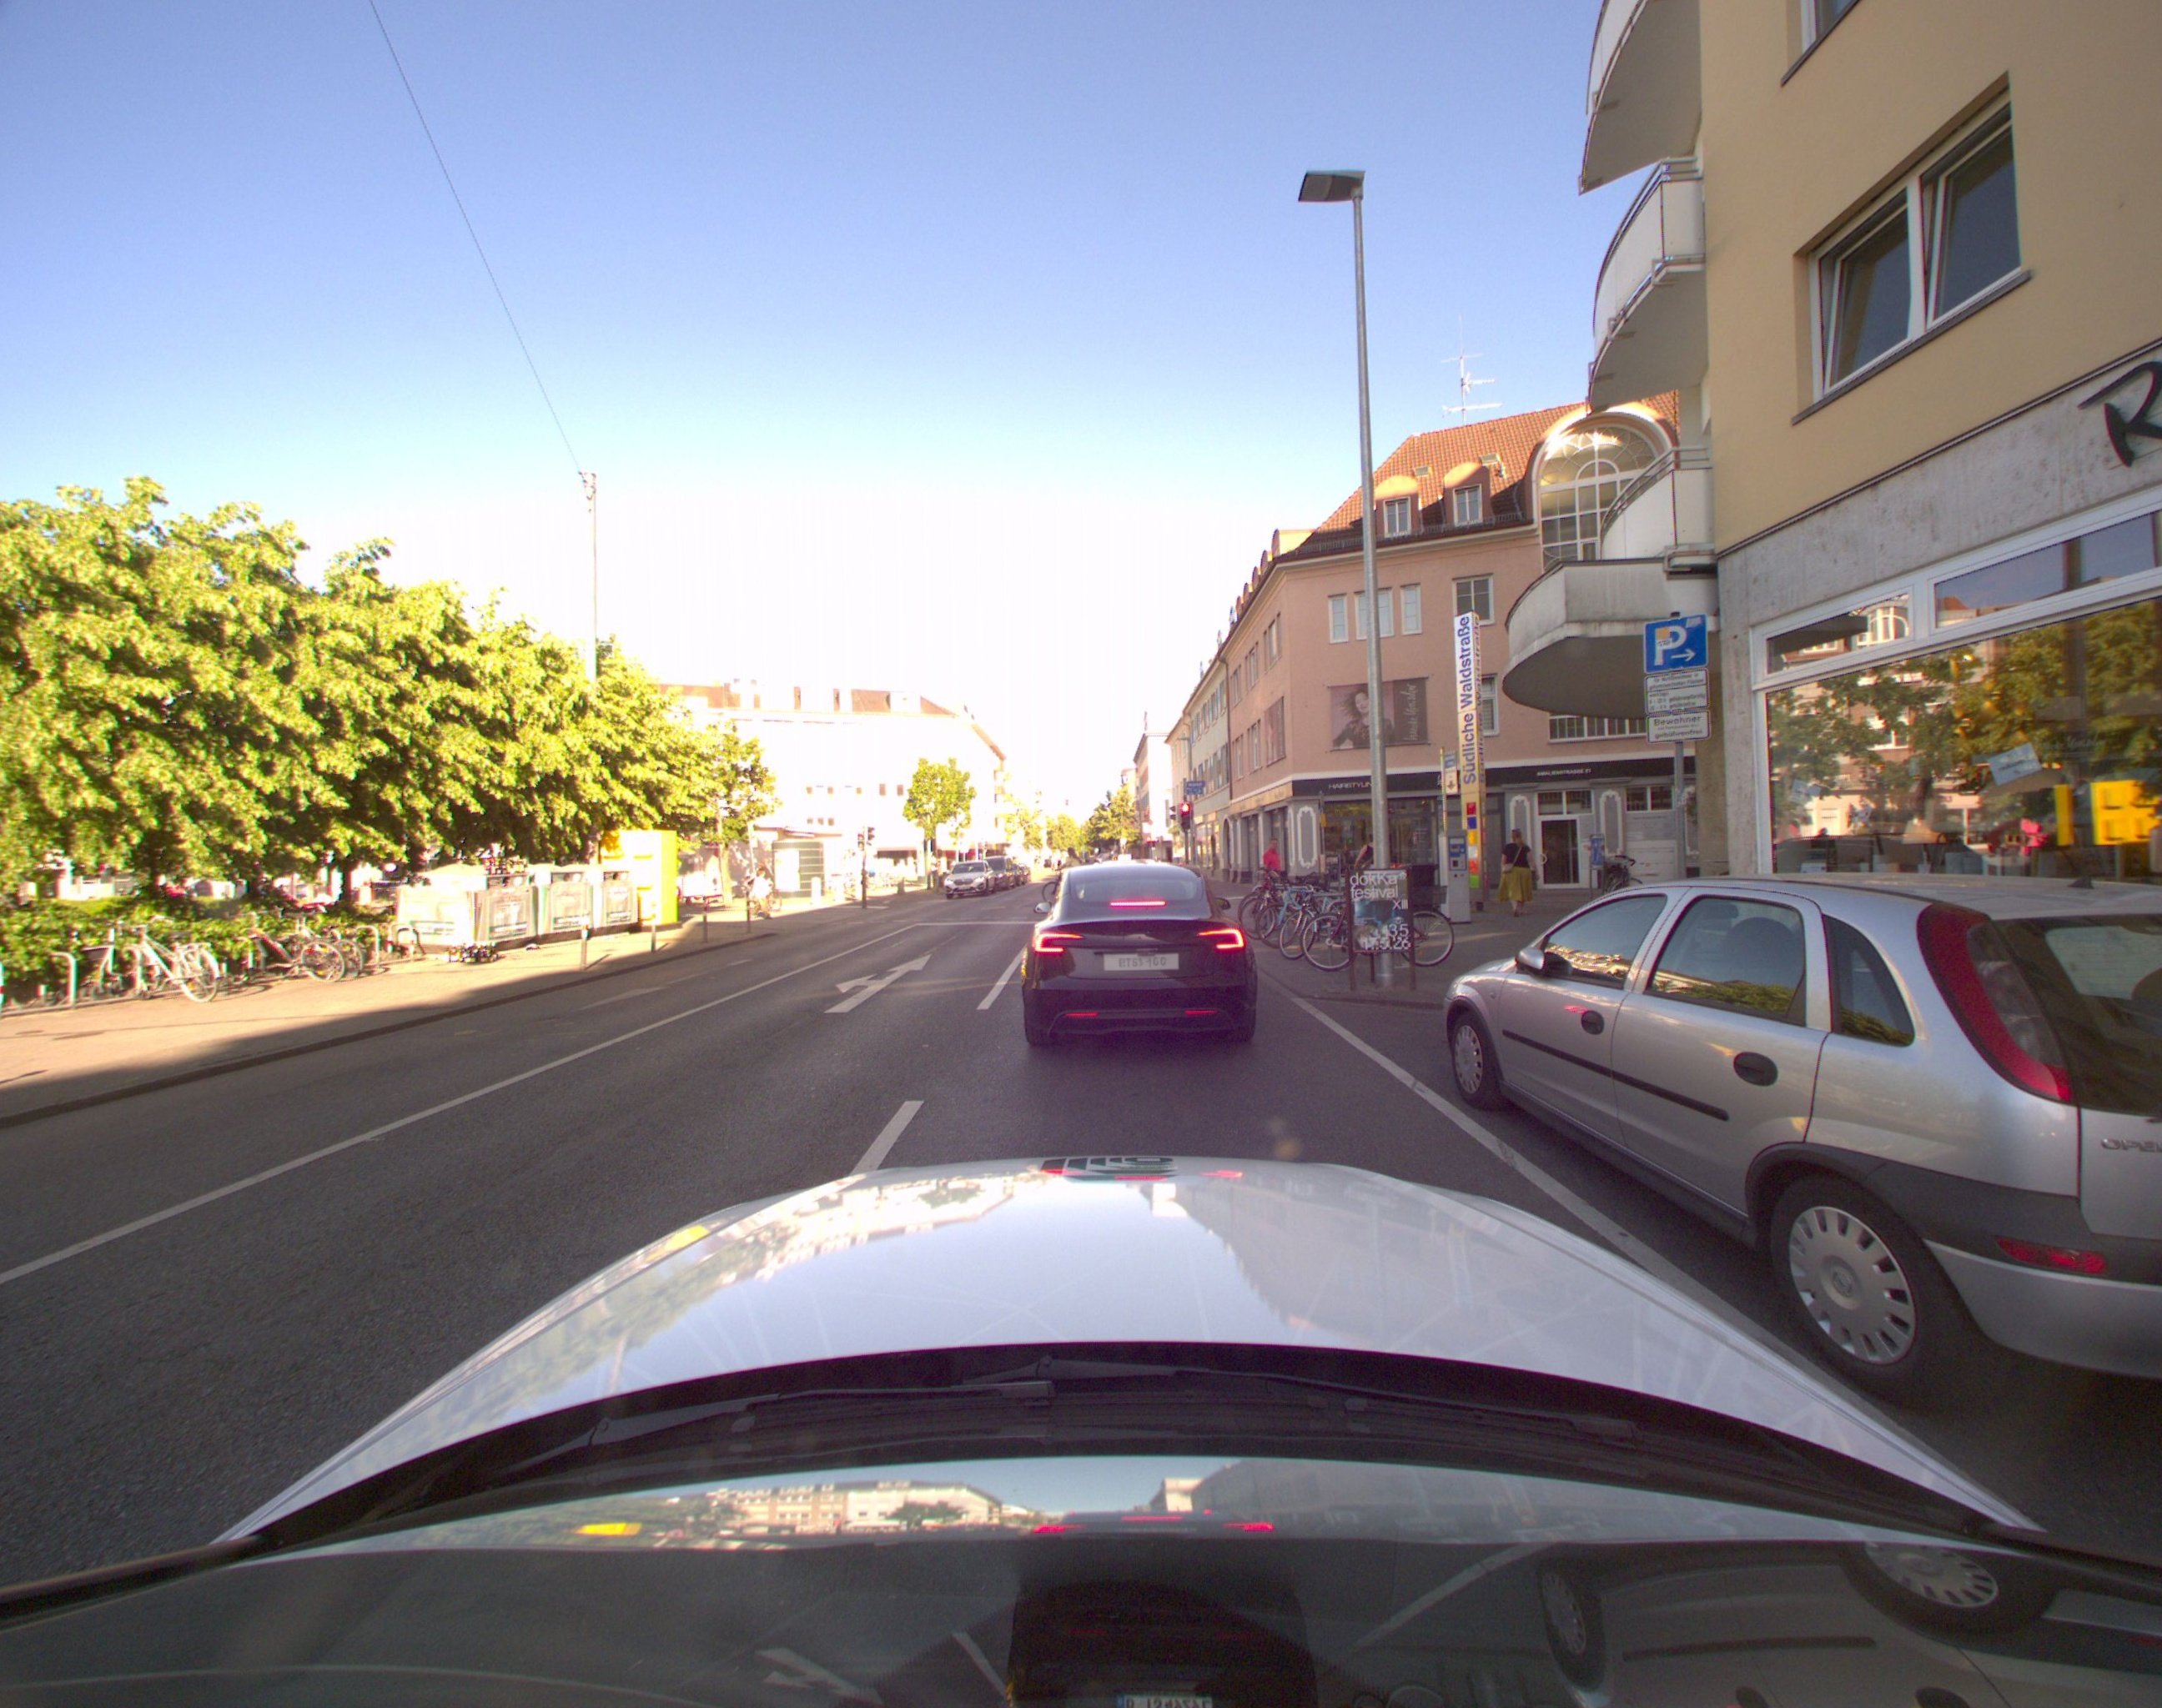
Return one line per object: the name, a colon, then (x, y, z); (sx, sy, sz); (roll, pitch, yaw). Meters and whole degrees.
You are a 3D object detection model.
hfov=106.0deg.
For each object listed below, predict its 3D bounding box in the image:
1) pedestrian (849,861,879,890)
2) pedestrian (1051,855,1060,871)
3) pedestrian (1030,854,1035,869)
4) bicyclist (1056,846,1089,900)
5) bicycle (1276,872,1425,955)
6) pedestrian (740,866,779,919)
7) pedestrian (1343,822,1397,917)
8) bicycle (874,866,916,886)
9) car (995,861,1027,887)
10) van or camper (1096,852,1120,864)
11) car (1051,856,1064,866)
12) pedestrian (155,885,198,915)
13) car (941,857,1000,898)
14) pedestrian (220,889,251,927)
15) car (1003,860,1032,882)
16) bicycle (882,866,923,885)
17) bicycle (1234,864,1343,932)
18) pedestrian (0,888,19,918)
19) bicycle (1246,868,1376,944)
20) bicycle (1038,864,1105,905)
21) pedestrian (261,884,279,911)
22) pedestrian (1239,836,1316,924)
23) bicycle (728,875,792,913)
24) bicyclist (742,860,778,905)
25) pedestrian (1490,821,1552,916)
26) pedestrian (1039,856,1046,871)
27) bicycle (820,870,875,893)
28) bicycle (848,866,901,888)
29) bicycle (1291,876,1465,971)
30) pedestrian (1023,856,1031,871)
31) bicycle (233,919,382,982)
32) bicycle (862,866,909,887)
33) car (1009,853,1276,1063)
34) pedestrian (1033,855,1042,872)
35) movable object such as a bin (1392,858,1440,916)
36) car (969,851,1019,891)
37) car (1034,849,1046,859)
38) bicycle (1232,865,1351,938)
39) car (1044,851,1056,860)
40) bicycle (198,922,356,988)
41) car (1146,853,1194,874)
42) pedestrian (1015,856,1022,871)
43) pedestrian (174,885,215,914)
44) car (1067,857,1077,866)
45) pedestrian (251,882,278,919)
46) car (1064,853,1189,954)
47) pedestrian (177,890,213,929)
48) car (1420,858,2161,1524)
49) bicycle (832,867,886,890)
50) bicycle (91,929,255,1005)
pedestrian: (-12.536, 1.232, 47.099); (1.083, 1.611, 1.273); (-1, -1, 24)
pedestrian: (-3.027, 1.094, 95.836); (0.776, 1.868, 1.003); (0, -1, -15)
pedestrian: (-6.209, 0.979, 104.222); (0.693, 1.868, 0.658); (0, -1, -3)
bicyclist: (-0.264, 0.586, 25.277); (0.821, 1.614, 0.581); (-3, 0, 11)
bicycle: (3.658, 0.798, 11.152); (1.806, 1.060, 0.653); (-1, 0, 3)
pedestrian: (-9.650, 1.143, 24.449); (0.919, 1.543, 0.694); (0, -1, -4)
pedestrian: (5.929, 0.324, 16.740); (0.678, 1.849, 0.894); (-5, -1, 3)
bicycle: (-11.996, 1.401, 52.574); (2.535, 1.251, 0.942); (0, -1, -1)
car: (-4.253, 1.206, 50.044); (1.455, 1.430, 3.607); (-5, -1, 2)
van or camper: (5.643, 0.854, 167.657); (4.832, 2.438, 1.851); (-1, 0, 1)
car: (-4.849, 1.324, 166.806); (2.405, 1.970, 4.679); (-1, 0, 2)
pedestrian: (-38.332, 1.951, 34.515); (0.926, 1.214, 0.873); (-1, -1, 17)
car: (-4.881, 1.016, 36.595); (1.818, 1.565, 4.302); (-5, -1, 2)
pedestrian: (-34.705, 2.198, 33.439); (0.827, 1.520, 0.782); (-1, -1, 38)
car: (-4.423, 1.155, 57.004); (1.688, 1.390, 3.915); (-3, -1, 0)
bicycle: (-12.049, 1.421, 55.002); (2.535, 1.251, 0.942); (0, -1, -1)
bicycle: (3.739, 0.784, 14.768); (1.806, 1.152, 0.653); (-1, 0, 3)
pedestrian: (-66.777, 3.036, 50.185); (1.305, 1.842, 1.091); (0, -1, -31)
bicycle: (3.520, 0.792, 12.564); (1.806, 1.102, 0.653); (-1, 0, 3)
bicycle: (-0.289, 0.945, 25.290); (1.941, 1.158, 0.577); (-3, -1, 10)
pedestrian: (-47.830, 2.549, 48.022); (0.629, 1.524, 0.573); (0, -1, -34)
pedestrian: (3.990, 0.507, 16.555); (1.067, 1.719, 1.100); (0, -1, -41)
bicycle: (-10.841, 1.328, 27.513); (1.980, 1.223, 0.632); (1, -2, 13)
bicyclist: (-10.848, 0.948, 27.537); (0.948, 1.484, 0.610); (-1, -1, 13)
pedestrian: (8.534, 0.282, 15.825); (0.717, 1.754, 0.789); (-4, -1, 8)
pedestrian: (-4.618, 1.121, 97.791); (0.696, 1.868, 0.905); (0, -1, -16)
bicycle: (-12.366, 1.439, 43.241); (2.652, 1.195, 0.942); (0, -1, -1)
bicycle: (-12.152, 1.364, 47.981); (2.867, 1.270, 0.942); (0, -1, -1)
bicycle: (3.638, 0.846, 10.079); (1.875, 1.044, 0.653); (-2, 0, 3)
pedestrian: (-6.449, 1.131, 97.446); (0.734, 1.868, 0.787); (0, -1, -15)
bicycle: (-11.459, 1.425, 12.099); (1.663, 0.859, 0.469); (0, -1, -5)
bicycle: (-12.051, 1.387, 50.299); (2.655, 1.259, 0.942); (0, -1, -1)
car: (0.498, 0.739, 7.880); (1.843, 1.447, 4.453); (0, 0, 2)
pedestrian: (-5.045, 1.100, 94.776); (0.726, 1.868, 0.796); (-1, -1, 30)
movable object such as a bin: (6.747, 0.660, 16.419); (0.633, 1.103, 0.728); (-4, -1, 5)
car: (-4.493, 0.836, 42.918); (1.938, 1.947, 4.822); (-1, 0, 2)
car: (-9.009, -0.011, 180.135); (2.266, 2.014, 4.720); (0, -1, 3)
bicycle: (3.498, 0.776, 13.639); (1.806, 1.152, 0.653); (-1, 0, 3)
car: (-7.153, 0.292, 188.730); (2.266, 2.014, 4.720); (0, -1, 3)
bicycle: (-11.424, 1.423, 11.600); (1.667, 0.859, 0.469); (0, -1, -5)
car: (8.151, 0.874, 74.646); (4.006, 1.867, 1.686); (-1, 0, -20)
pedestrian: (-7.461, 1.139, 97.464); (0.734, 1.868, 0.787); (0, -1, -15)
pedestrian: (-38.468, 1.955, 35.339); (0.857, 1.214, 0.904); (-1, -1, 17)
car: (-1.987, 1.779, 187.426); (2.124, 1.970, 4.135); (-1, 0, 2)
pedestrian: (-34.241, 1.952, 34.156); (0.553, 1.508, 0.611); (-1, -1, 17)
car: (0.744, 0.750, 14.303); (1.843, 1.482, 4.453); (0, 0, 2)
pedestrian: (-36.046, 2.239, 33.142); (0.928, 1.520, 0.924); (0, -1, -43)
car: (2.962, 0.739, 3.543); (1.578, 1.426, 3.581); (0, -1, 2)
bicycle: (-12.390, 1.371, 45.585); (2.772, 1.274, 0.933); (0, -1, -2)
bicycle: (-11.460, 1.417, 10.303); (1.560, 0.886, 0.470); (0, -1, 1)
